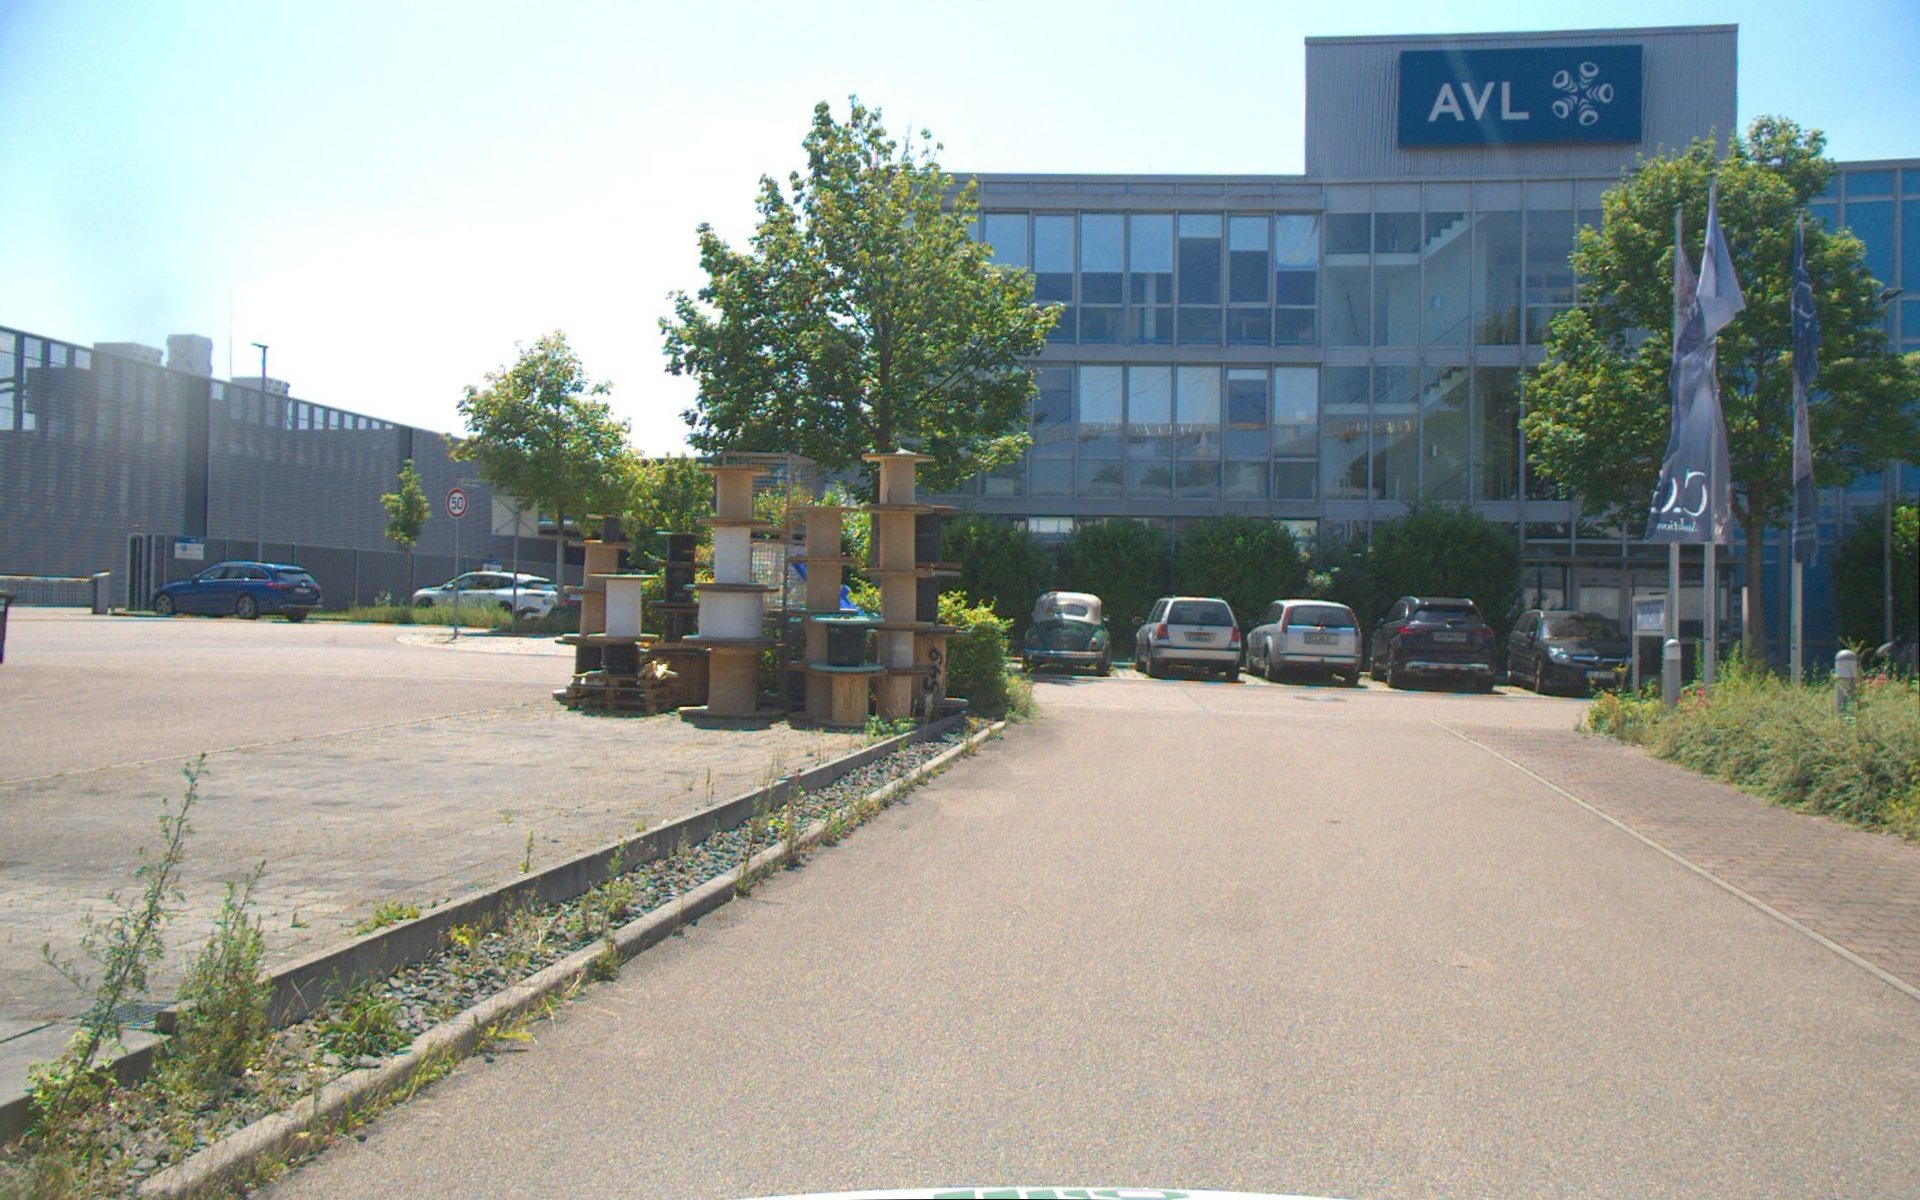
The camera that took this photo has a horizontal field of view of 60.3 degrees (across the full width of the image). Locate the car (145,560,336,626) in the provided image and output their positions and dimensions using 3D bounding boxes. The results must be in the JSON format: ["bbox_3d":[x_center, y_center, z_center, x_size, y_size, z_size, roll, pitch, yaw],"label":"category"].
[{"bbox_3d":[-18.545,-0.206,42.651,4.409,1.517,2.000,2,1,23],"label":"car"}]

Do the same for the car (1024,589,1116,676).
[{"bbox_3d":[2.133,0.574,31.332,1.509,1.474,3.657,2,1,7],"label":"car"}]

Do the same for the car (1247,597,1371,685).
[{"bbox_3d":[6.578,0.738,31.523,1.728,1.474,3.655,2,1,3],"label":"car"}]

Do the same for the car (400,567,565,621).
[{"bbox_3d":[-15.031,-0.195,52.055,4.741,1.517,2.000,2,1,23],"label":"car"}]

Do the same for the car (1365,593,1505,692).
[{"bbox_3d":[8.801,0.728,30.950,1.886,1.638,3.990,2,1,7],"label":"car"}]

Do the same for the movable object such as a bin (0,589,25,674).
[{"bbox_3d":[-12.144,0.395,20.833,0.569,1.054,0.422,1,0,-25],"label":"movable object such as a bin"}]

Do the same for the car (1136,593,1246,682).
[{"bbox_3d":[4.304,0.662,31.284,1.695,1.474,3.655,2,1,3],"label":"car"}]

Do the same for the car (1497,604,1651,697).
[{"bbox_3d":[11.296,0.880,30.714,1.732,1.507,4.262,1,1,7],"label":"car"}]

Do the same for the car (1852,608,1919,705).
[{"bbox_3d":[17.883,1.027,29.731,1.781,1.648,4.343,1,1,7],"label":"car"}]

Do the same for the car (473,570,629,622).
[{"bbox_3d":[-13.527,-0.153,54.739,4.741,1.517,2.000,2,1,23],"label":"car"}]
